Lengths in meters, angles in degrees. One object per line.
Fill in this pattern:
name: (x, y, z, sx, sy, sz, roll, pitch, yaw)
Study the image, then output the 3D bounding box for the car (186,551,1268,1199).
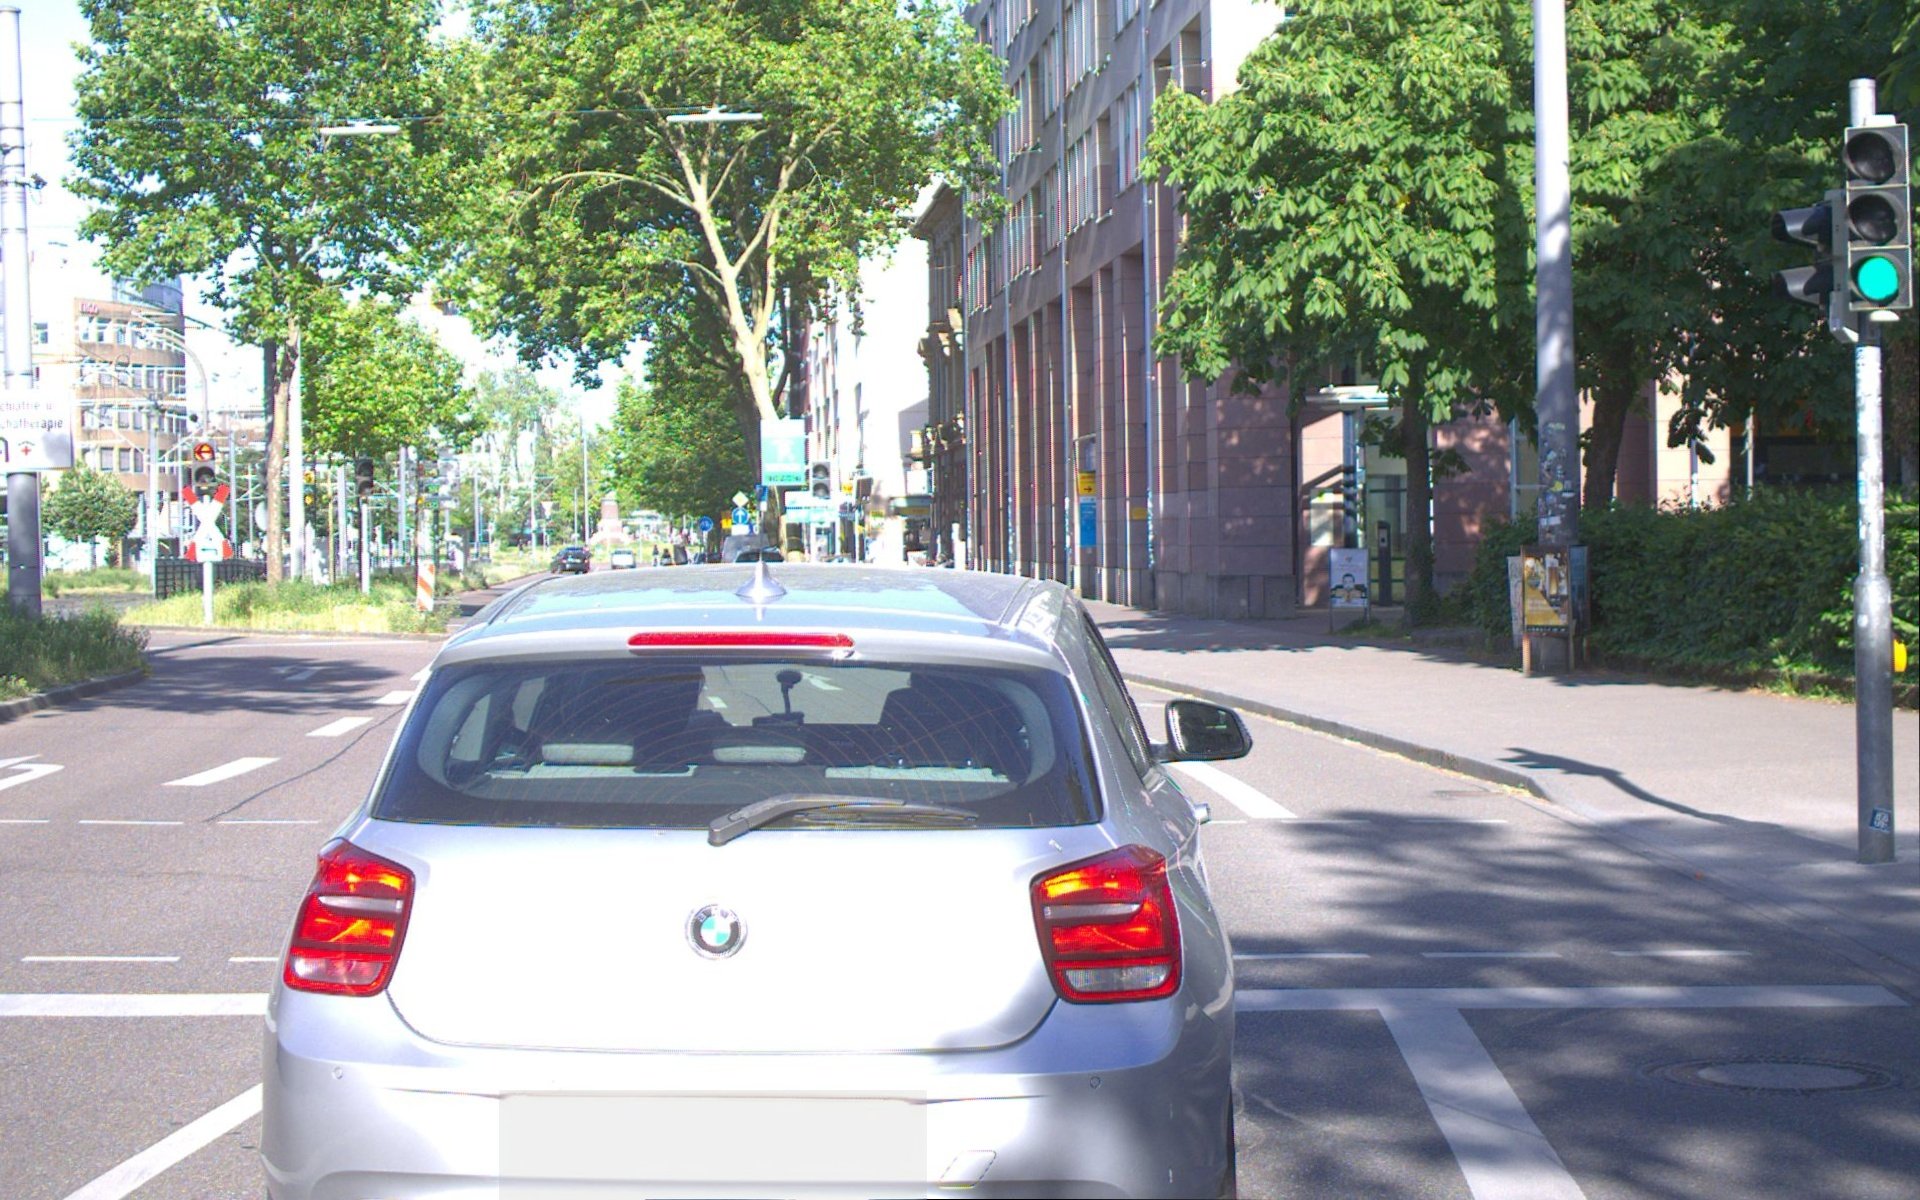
car: (-0.296, 0.633, 7.427, 1.730, 1.385, 3.840, 1, 2, 3)

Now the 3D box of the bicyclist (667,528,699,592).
bicyclist: (-7.239, -1.041, 89.817, 0.658, 1.651, 0.765, -1, 1, 5)

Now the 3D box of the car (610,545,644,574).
car: (-23.890, -2.876, 246.628, 1.993, 2.007, 4.000, 1, 0, 0)

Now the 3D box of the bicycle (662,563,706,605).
bicycle: (-7.216, -0.418, 89.827, 0.831, 1.038, 1.874, -1, 1, 5)

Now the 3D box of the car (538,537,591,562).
car: (-24.476, -3.134, 212.546, 1.993, 1.481, 4.001, -1, 1, -26)
